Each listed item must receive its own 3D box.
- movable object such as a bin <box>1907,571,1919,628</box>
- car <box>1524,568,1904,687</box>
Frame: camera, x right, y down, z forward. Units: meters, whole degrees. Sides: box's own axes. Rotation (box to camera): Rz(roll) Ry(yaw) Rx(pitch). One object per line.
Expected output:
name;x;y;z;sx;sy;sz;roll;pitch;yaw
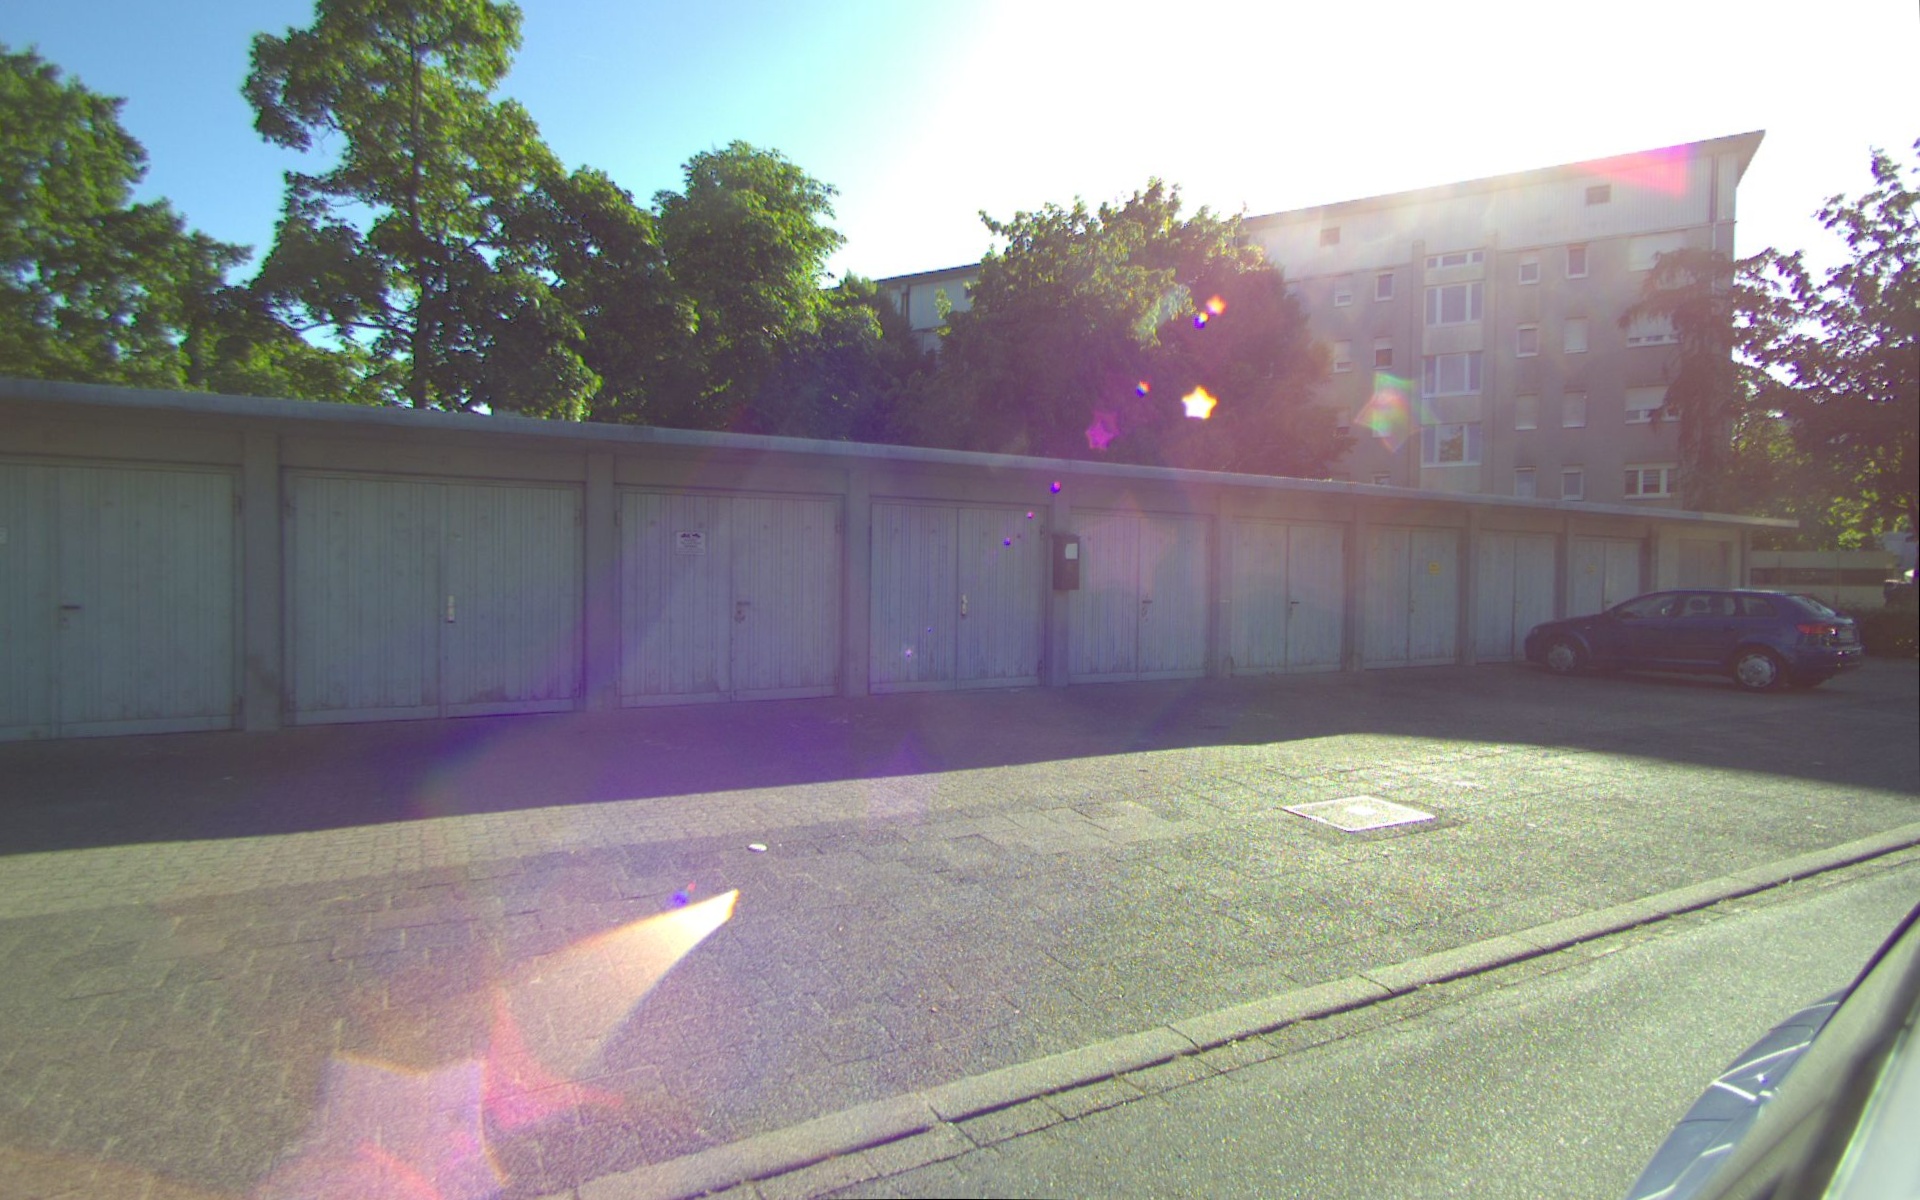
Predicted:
movable object such as a bin;25.942;-0.017;26.624;1.010;1.499;1.326;0;1;-34
car;11.025;0.304;15.133;1.782;1.513;4.200;0;1;-31
